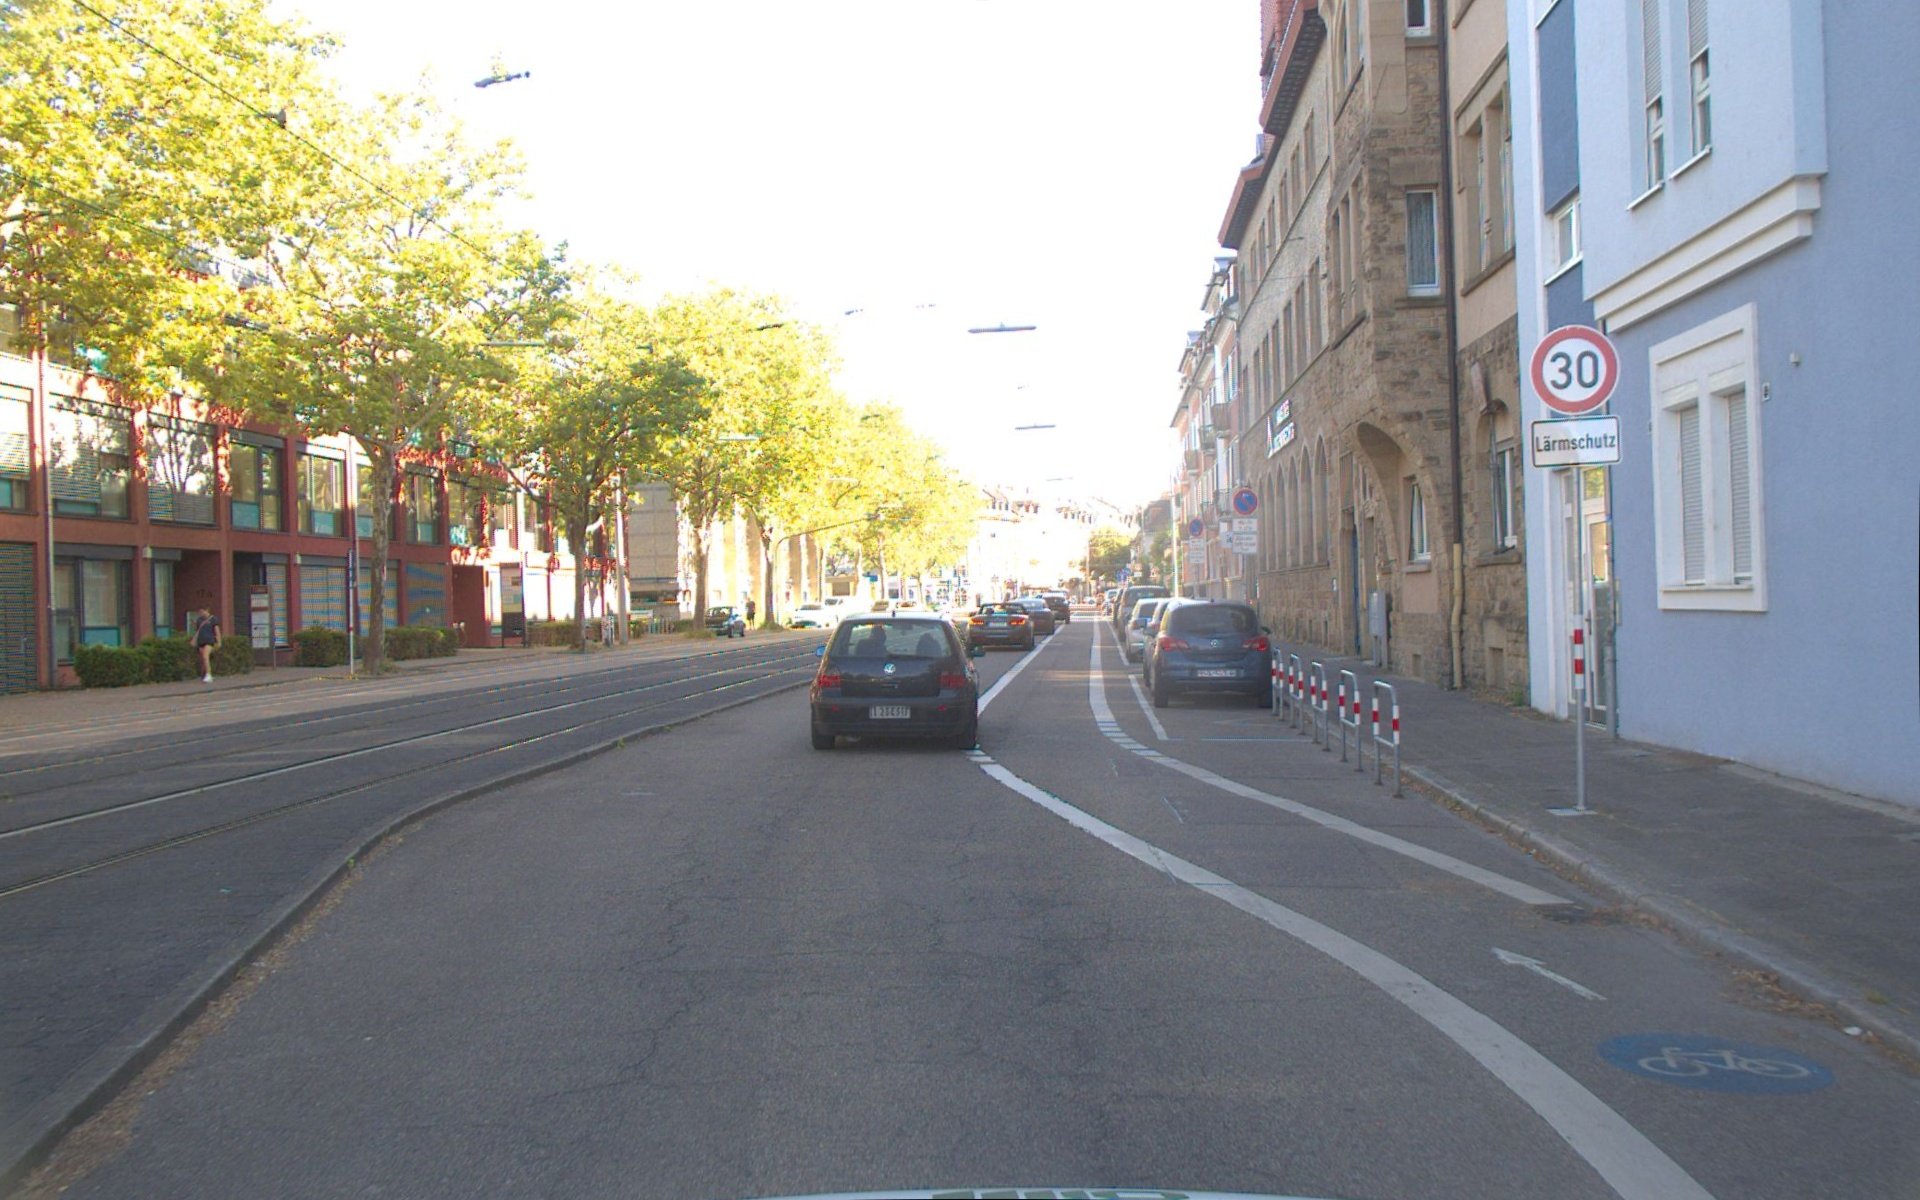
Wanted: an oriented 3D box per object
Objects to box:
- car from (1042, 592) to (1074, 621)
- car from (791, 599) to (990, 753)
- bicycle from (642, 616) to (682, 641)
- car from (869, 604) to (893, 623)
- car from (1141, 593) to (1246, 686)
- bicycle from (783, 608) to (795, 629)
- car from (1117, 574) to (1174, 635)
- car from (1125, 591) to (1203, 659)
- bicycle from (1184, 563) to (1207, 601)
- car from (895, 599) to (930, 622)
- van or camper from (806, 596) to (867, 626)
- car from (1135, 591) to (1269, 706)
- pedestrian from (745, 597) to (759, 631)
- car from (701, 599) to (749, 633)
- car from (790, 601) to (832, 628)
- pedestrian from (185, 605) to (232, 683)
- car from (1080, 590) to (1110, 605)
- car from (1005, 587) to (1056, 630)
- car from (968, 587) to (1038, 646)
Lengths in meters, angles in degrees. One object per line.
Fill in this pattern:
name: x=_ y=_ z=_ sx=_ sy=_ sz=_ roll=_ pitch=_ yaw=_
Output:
car: x=5.289 y=0.325 z=88.750 sx=1.601 sy=1.498 sz=3.731 roll=-2 pitch=0 yaw=5
car: x=-0.631 y=0.728 z=17.883 sx=1.712 sy=1.399 sz=4.002 roll=-2 pitch=0 yaw=3
bicycle: x=-15.482 y=1.493 z=85.993 sx=1.966 sy=1.301 sz=0.664 roll=0 pitch=0 yaw=5
car: x=-6.558 y=1.142 z=137.800 sx=1.537 sy=1.560 sz=3.574 roll=-2 pitch=-1 yaw=5
car: x=4.085 y=0.639 z=29.434 sx=1.715 sy=1.527 sz=4.199 roll=0 pitch=0 yaw=6
bicycle: x=-10.099 y=1.072 z=97.854 sx=0.569 sy=1.230 sz=1.653 roll=0 pitch=0 yaw=-1
car: x=6.089 y=0.129 z=54.672 sx=1.716 sy=1.888 sz=4.818 roll=-1 pitch=0 yaw=5
car: x=4.831 y=0.556 z=39.604 sx=1.677 sy=1.527 sz=4.228 roll=0 pitch=0 yaw=5
bicycle: x=7.423 y=-0.569 z=52.285 sx=0.504 sy=1.159 sz=2.260 roll=-3 pitch=0 yaw=4
car: x=-3.415 y=0.729 z=119.701 sx=1.715 sy=1.544 sz=4.075 roll=-4 pitch=0 yaw=9
van or camper: x=-8.459 y=0.707 z=113.716 sx=2.019 sy=1.984 sz=5.187 roll=0 pitch=1 yaw=24
car: x=3.423 y=0.637 z=23.924 sx=1.620 sy=1.508 sz=4.002 roll=-1 pitch=0 yaw=4
pedestrian: x=-11.849 y=0.788 z=94.369 sx=0.770 sy=1.902 sz=0.669 roll=0 pitch=0 yaw=-10
car: x=-11.267 y=0.810 z=79.349 sx=1.475 sy=1.479 sz=3.465 roll=-2 pitch=-3 yaw=5
car: x=-9.299 y=0.888 z=103.390 sx=1.969 sy=1.600 sz=4.695 roll=0 pitch=1 yaw=3
pedestrian: x=-17.159 y=0.996 z=37.786 sx=0.612 sy=1.748 sz=0.901 roll=0 pitch=0 yaw=4
car: x=18.531 y=-0.291 z=227.559 sx=3.906 sy=2.049 sz=1.999 roll=0 pitch=0 yaw=-2
car: x=2.762 y=0.319 z=64.194 sx=1.712 sy=1.564 sz=3.894 roll=-2 pitch=0 yaw=5
car: x=1.260 y=0.441 z=47.320 sx=1.712 sy=1.564 sz=3.894 roll=-2 pitch=0 yaw=5
